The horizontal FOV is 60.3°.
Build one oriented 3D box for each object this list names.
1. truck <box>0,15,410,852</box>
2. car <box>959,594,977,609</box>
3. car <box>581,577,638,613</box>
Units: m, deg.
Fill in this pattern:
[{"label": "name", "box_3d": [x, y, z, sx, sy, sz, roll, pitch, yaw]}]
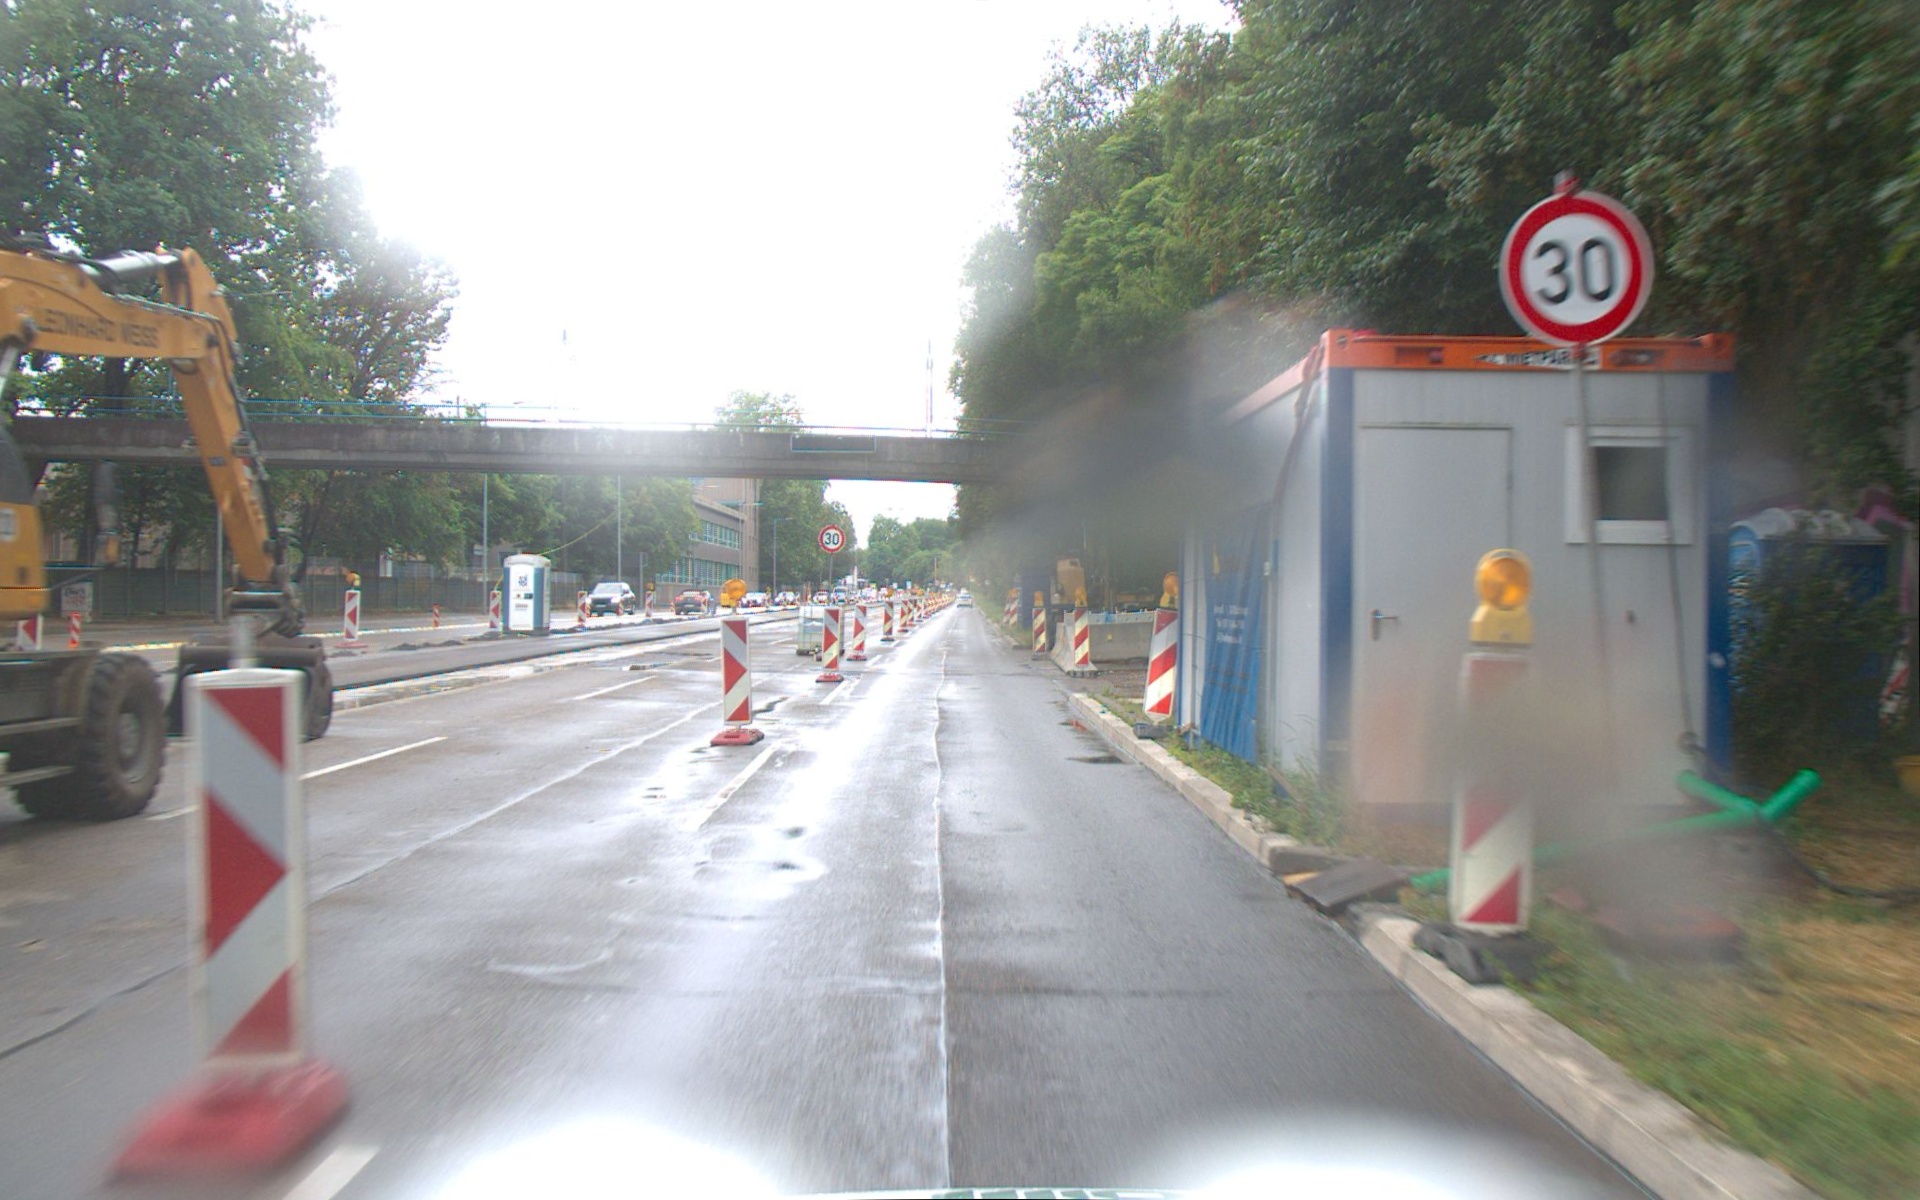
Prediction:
[{"label": "truck", "box_3d": [-6.680, -0.884, 11.605, 2.841, 4.333, 10.744, 1, 0, -5]}, {"label": "car", "box_3d": [0.851, 0.162, 185.427, 1.953, 1.668, 4.000, 0, 0, 0]}, {"label": "car", "box_3d": [-18.268, -0.242, 86.464, 1.930, 1.837, 4.608, 0, 0, 1]}]
